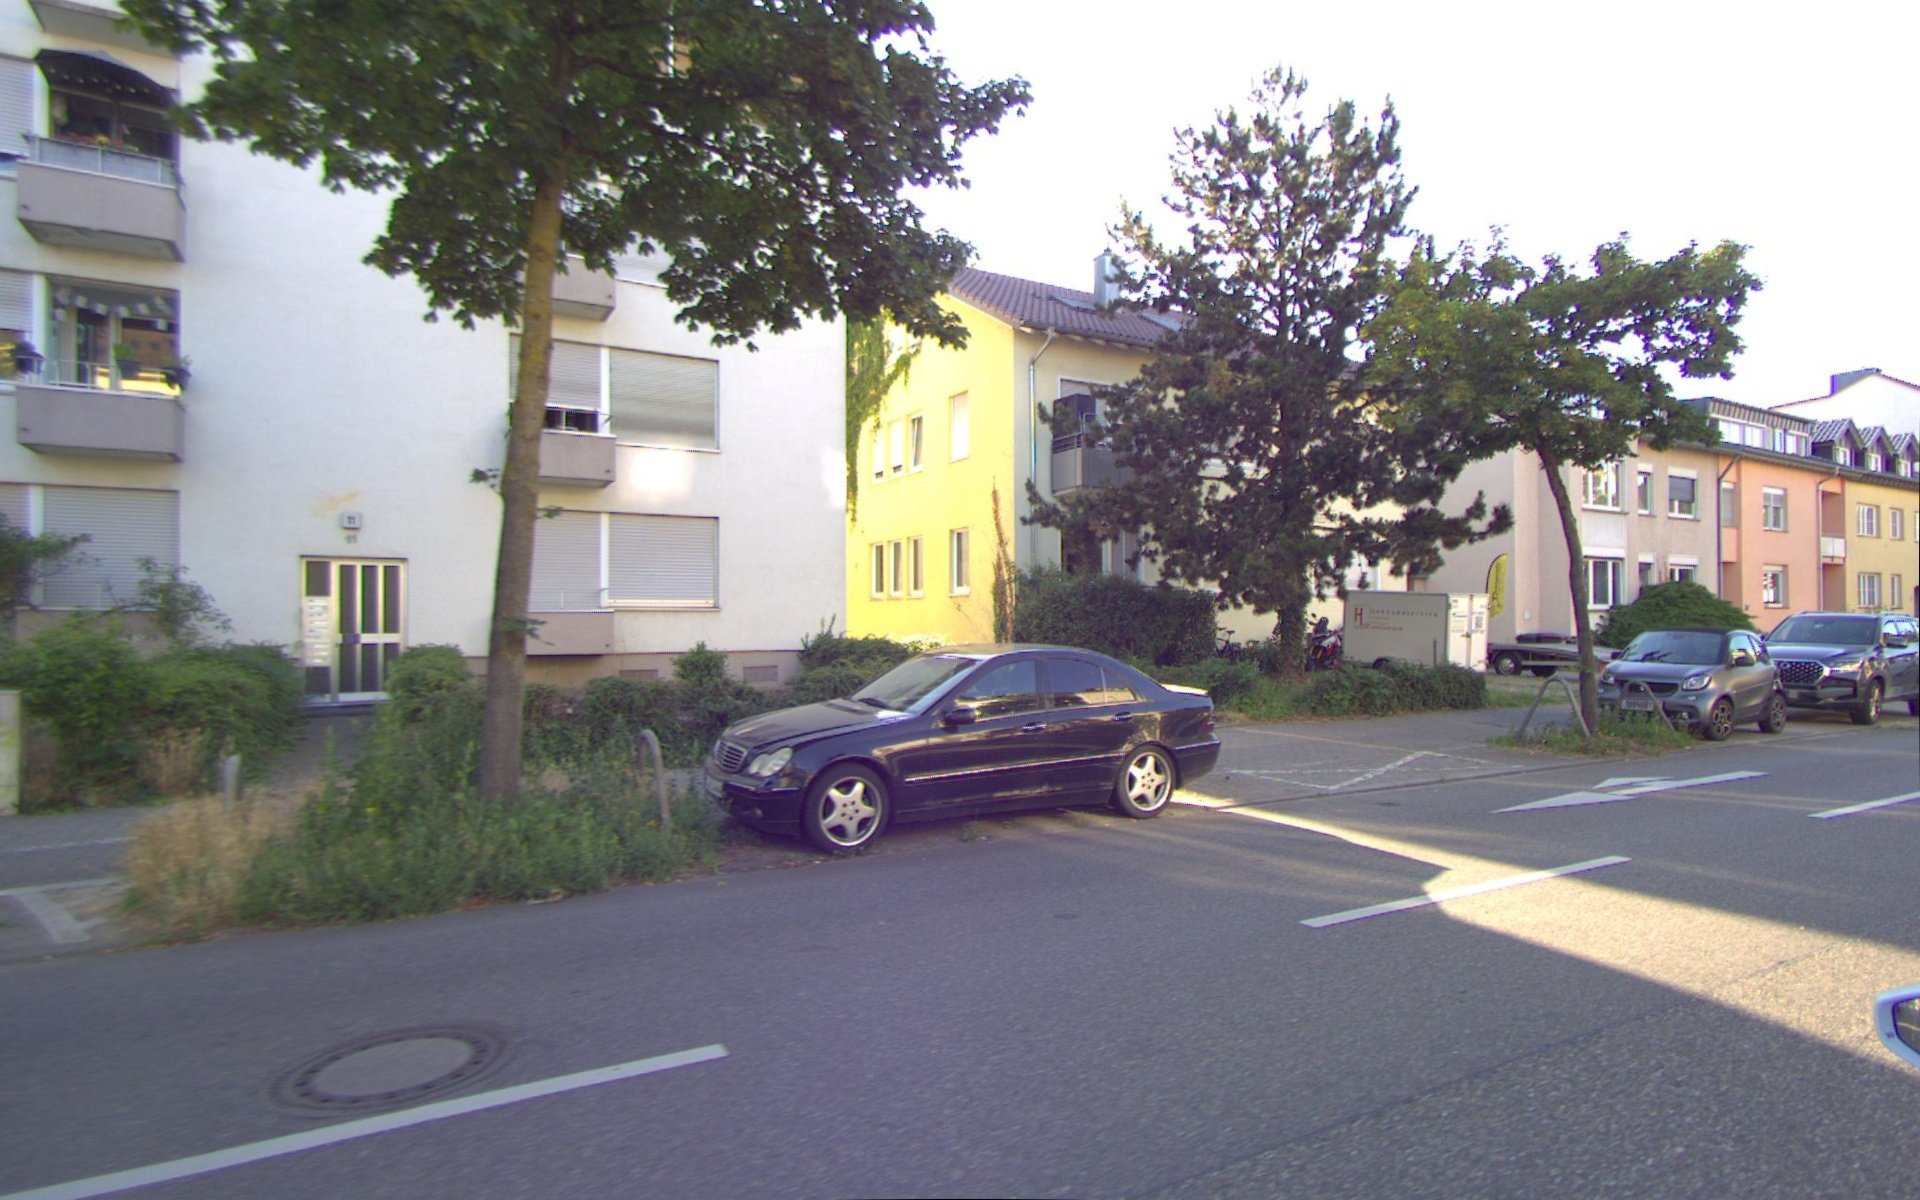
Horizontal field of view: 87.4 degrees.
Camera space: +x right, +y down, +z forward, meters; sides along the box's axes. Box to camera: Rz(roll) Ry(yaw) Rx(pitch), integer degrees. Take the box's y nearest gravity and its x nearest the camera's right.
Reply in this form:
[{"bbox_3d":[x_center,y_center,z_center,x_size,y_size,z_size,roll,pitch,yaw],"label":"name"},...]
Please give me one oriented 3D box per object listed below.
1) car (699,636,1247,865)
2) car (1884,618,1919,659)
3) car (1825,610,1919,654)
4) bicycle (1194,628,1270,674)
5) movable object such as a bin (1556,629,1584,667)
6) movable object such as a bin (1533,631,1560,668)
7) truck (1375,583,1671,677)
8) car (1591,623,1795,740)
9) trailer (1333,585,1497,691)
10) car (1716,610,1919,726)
[{"bbox_3d":[0.223,1.045,8.368,4.392,1.426,1.629,1,-1,-31],"label":"car"},{"bbox_3d":[34.749,1.361,35.749,3.706,1.427,1.658,0,-2,-29],"label":"car"},{"bbox_3d":[37.883,1.282,40.640,1.843,1.658,3.970,1,1,-28],"label":"car"},{"bbox_3d":[6.626,1.216,24.435,2.022,1.078,0.516,1,-1,-31],"label":"bicycle"},{"bbox_3d":[18.137,1.421,29.878,0.579,1.105,0.486,0,-1,-30],"label":"movable object such as a bin"},{"bbox_3d":[17.759,1.488,30.400,0.579,1.105,0.486,0,-1,-30],"label":"movable object such as a bin"},{"bbox_3d":[14.949,0.788,27.309,2.249,2.214,6.864,1,-1,-29],"label":"truck"},{"bbox_3d":[10.997,1.141,15.058,2.718,1.576,1.565,1,-1,-32],"label":"car"},{"bbox_3d":[9.470,0.776,21.044,1.535,2.040,2.758,1,-1,-32],"label":"trailer"},{"bbox_3d":[15.438,1.092,17.663,4.673,1.803,1.877,1,-1,-32],"label":"car"}]
